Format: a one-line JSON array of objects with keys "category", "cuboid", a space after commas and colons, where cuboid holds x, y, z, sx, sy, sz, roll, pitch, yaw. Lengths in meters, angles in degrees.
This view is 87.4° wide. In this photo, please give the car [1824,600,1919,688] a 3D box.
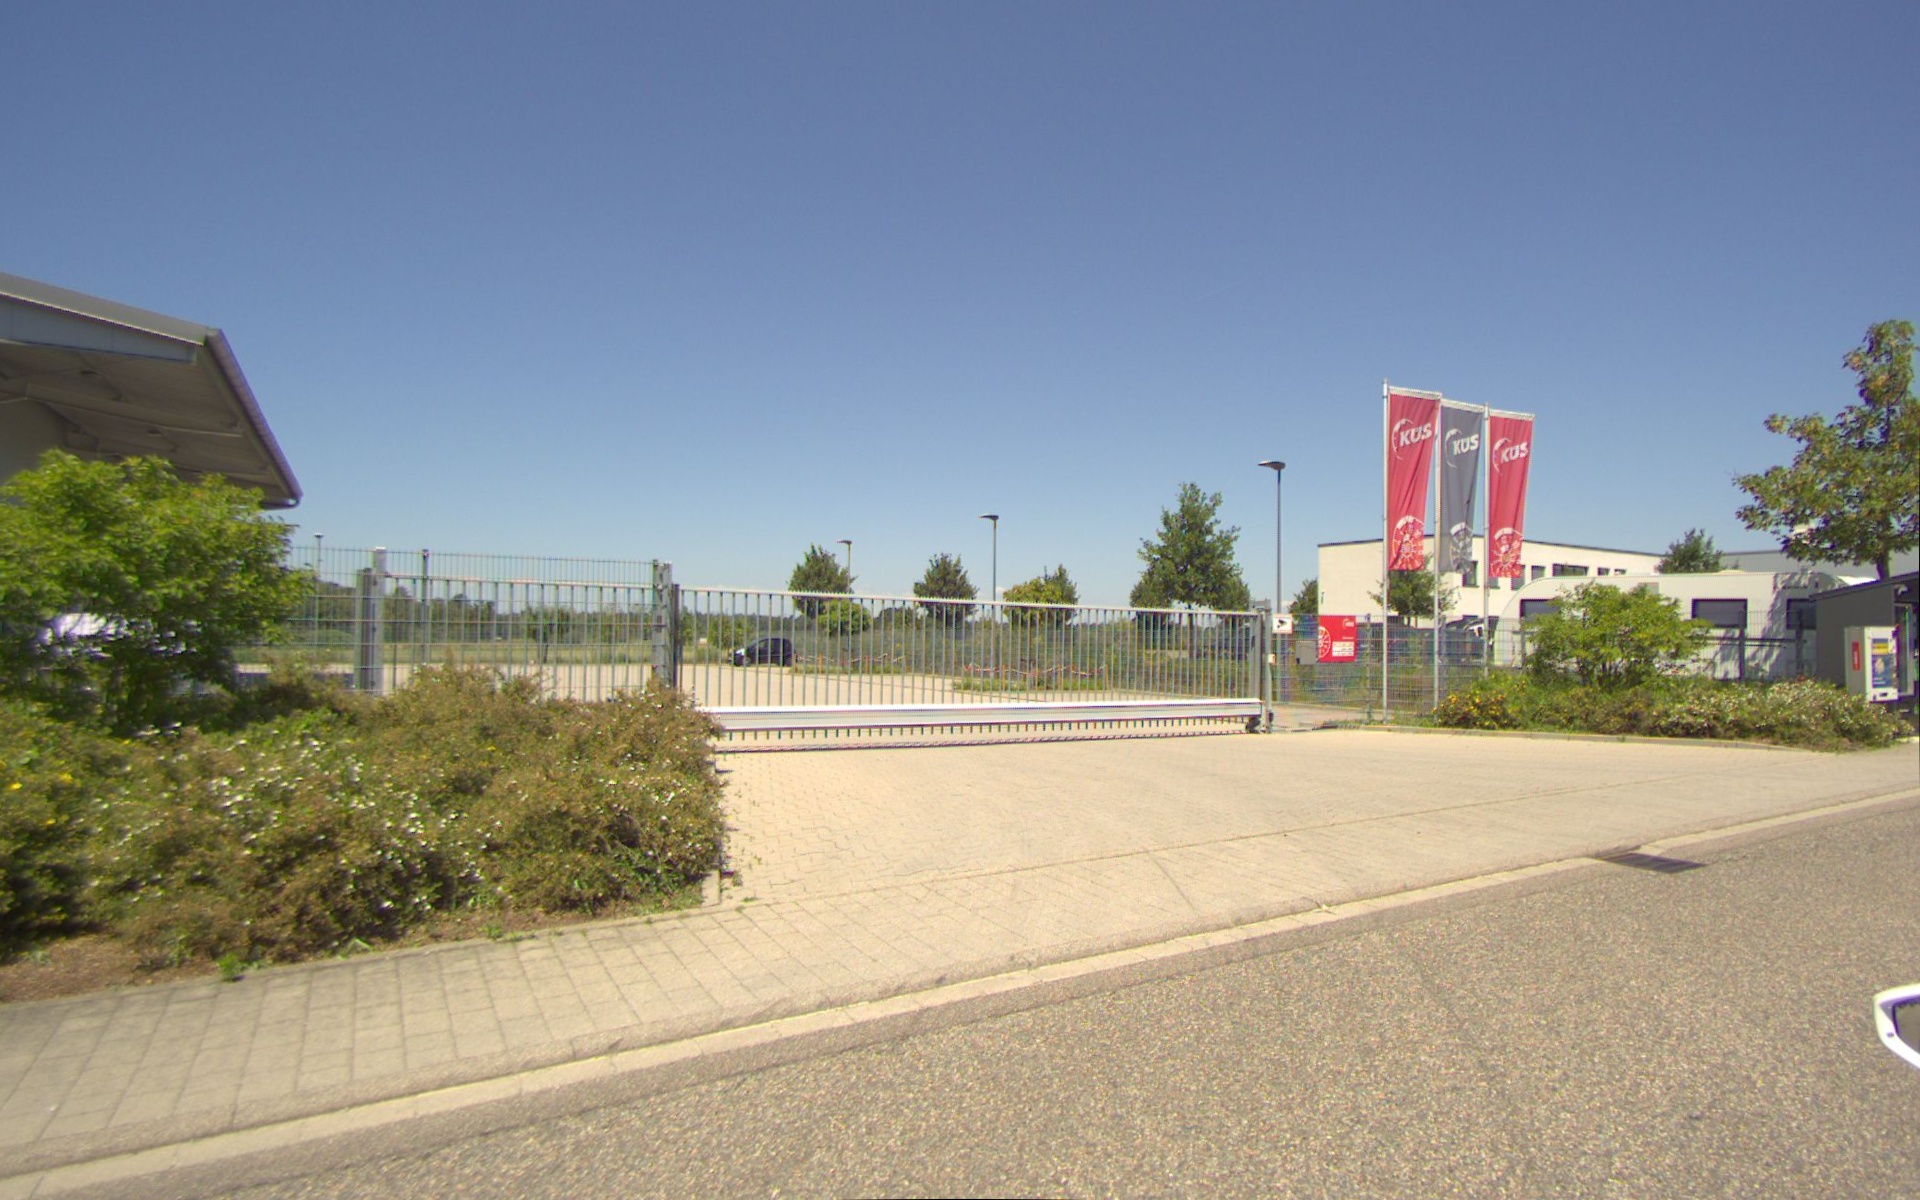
[{"category": "car", "cuboid": [29.335, 1.325, 30.217, 1.980, 2.620, 4.686, 2, -3, -34]}]

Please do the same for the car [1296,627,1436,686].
[{"category": "car", "cuboid": [13.409, 1.834, 33.389, 1.895, 1.839, 3.967, 1, -3, -31]}]

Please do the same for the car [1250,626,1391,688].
[{"category": "car", "cuboid": [11.456, 1.780, 32.172, 1.895, 1.839, 3.967, 1, -3, -31]}]

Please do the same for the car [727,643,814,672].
[{"category": "car", "cuboid": [-9.654, 2.921, 51.099, 3.951, 1.371, 1.938, 3, -3, -29]}]

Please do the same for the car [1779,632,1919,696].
[{"category": "car", "cuboid": [24.447, 1.686, 27.018, 1.483, 1.632, 3.472, 1, -2, -31]}]

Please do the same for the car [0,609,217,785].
[{"category": "car", "cuboid": [-9.026, 0.924, 10.789, 1.543, 1.572, 3.478, 2, -2, -35]}]

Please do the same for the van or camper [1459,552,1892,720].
[{"category": "van or camper", "cuboid": [15.326, 0.800, 22.271, 2.758, 3.077, 7.348, 1, -2, -31]}]

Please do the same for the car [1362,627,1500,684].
[{"category": "car", "cuboid": [16.168, 1.890, 34.675, 1.895, 1.839, 3.967, 1, -3, -31]}]

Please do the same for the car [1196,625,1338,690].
[{"category": "car", "cuboid": [9.369, 1.730, 30.951, 1.895, 1.839, 3.967, 1, -3, -31]}]
